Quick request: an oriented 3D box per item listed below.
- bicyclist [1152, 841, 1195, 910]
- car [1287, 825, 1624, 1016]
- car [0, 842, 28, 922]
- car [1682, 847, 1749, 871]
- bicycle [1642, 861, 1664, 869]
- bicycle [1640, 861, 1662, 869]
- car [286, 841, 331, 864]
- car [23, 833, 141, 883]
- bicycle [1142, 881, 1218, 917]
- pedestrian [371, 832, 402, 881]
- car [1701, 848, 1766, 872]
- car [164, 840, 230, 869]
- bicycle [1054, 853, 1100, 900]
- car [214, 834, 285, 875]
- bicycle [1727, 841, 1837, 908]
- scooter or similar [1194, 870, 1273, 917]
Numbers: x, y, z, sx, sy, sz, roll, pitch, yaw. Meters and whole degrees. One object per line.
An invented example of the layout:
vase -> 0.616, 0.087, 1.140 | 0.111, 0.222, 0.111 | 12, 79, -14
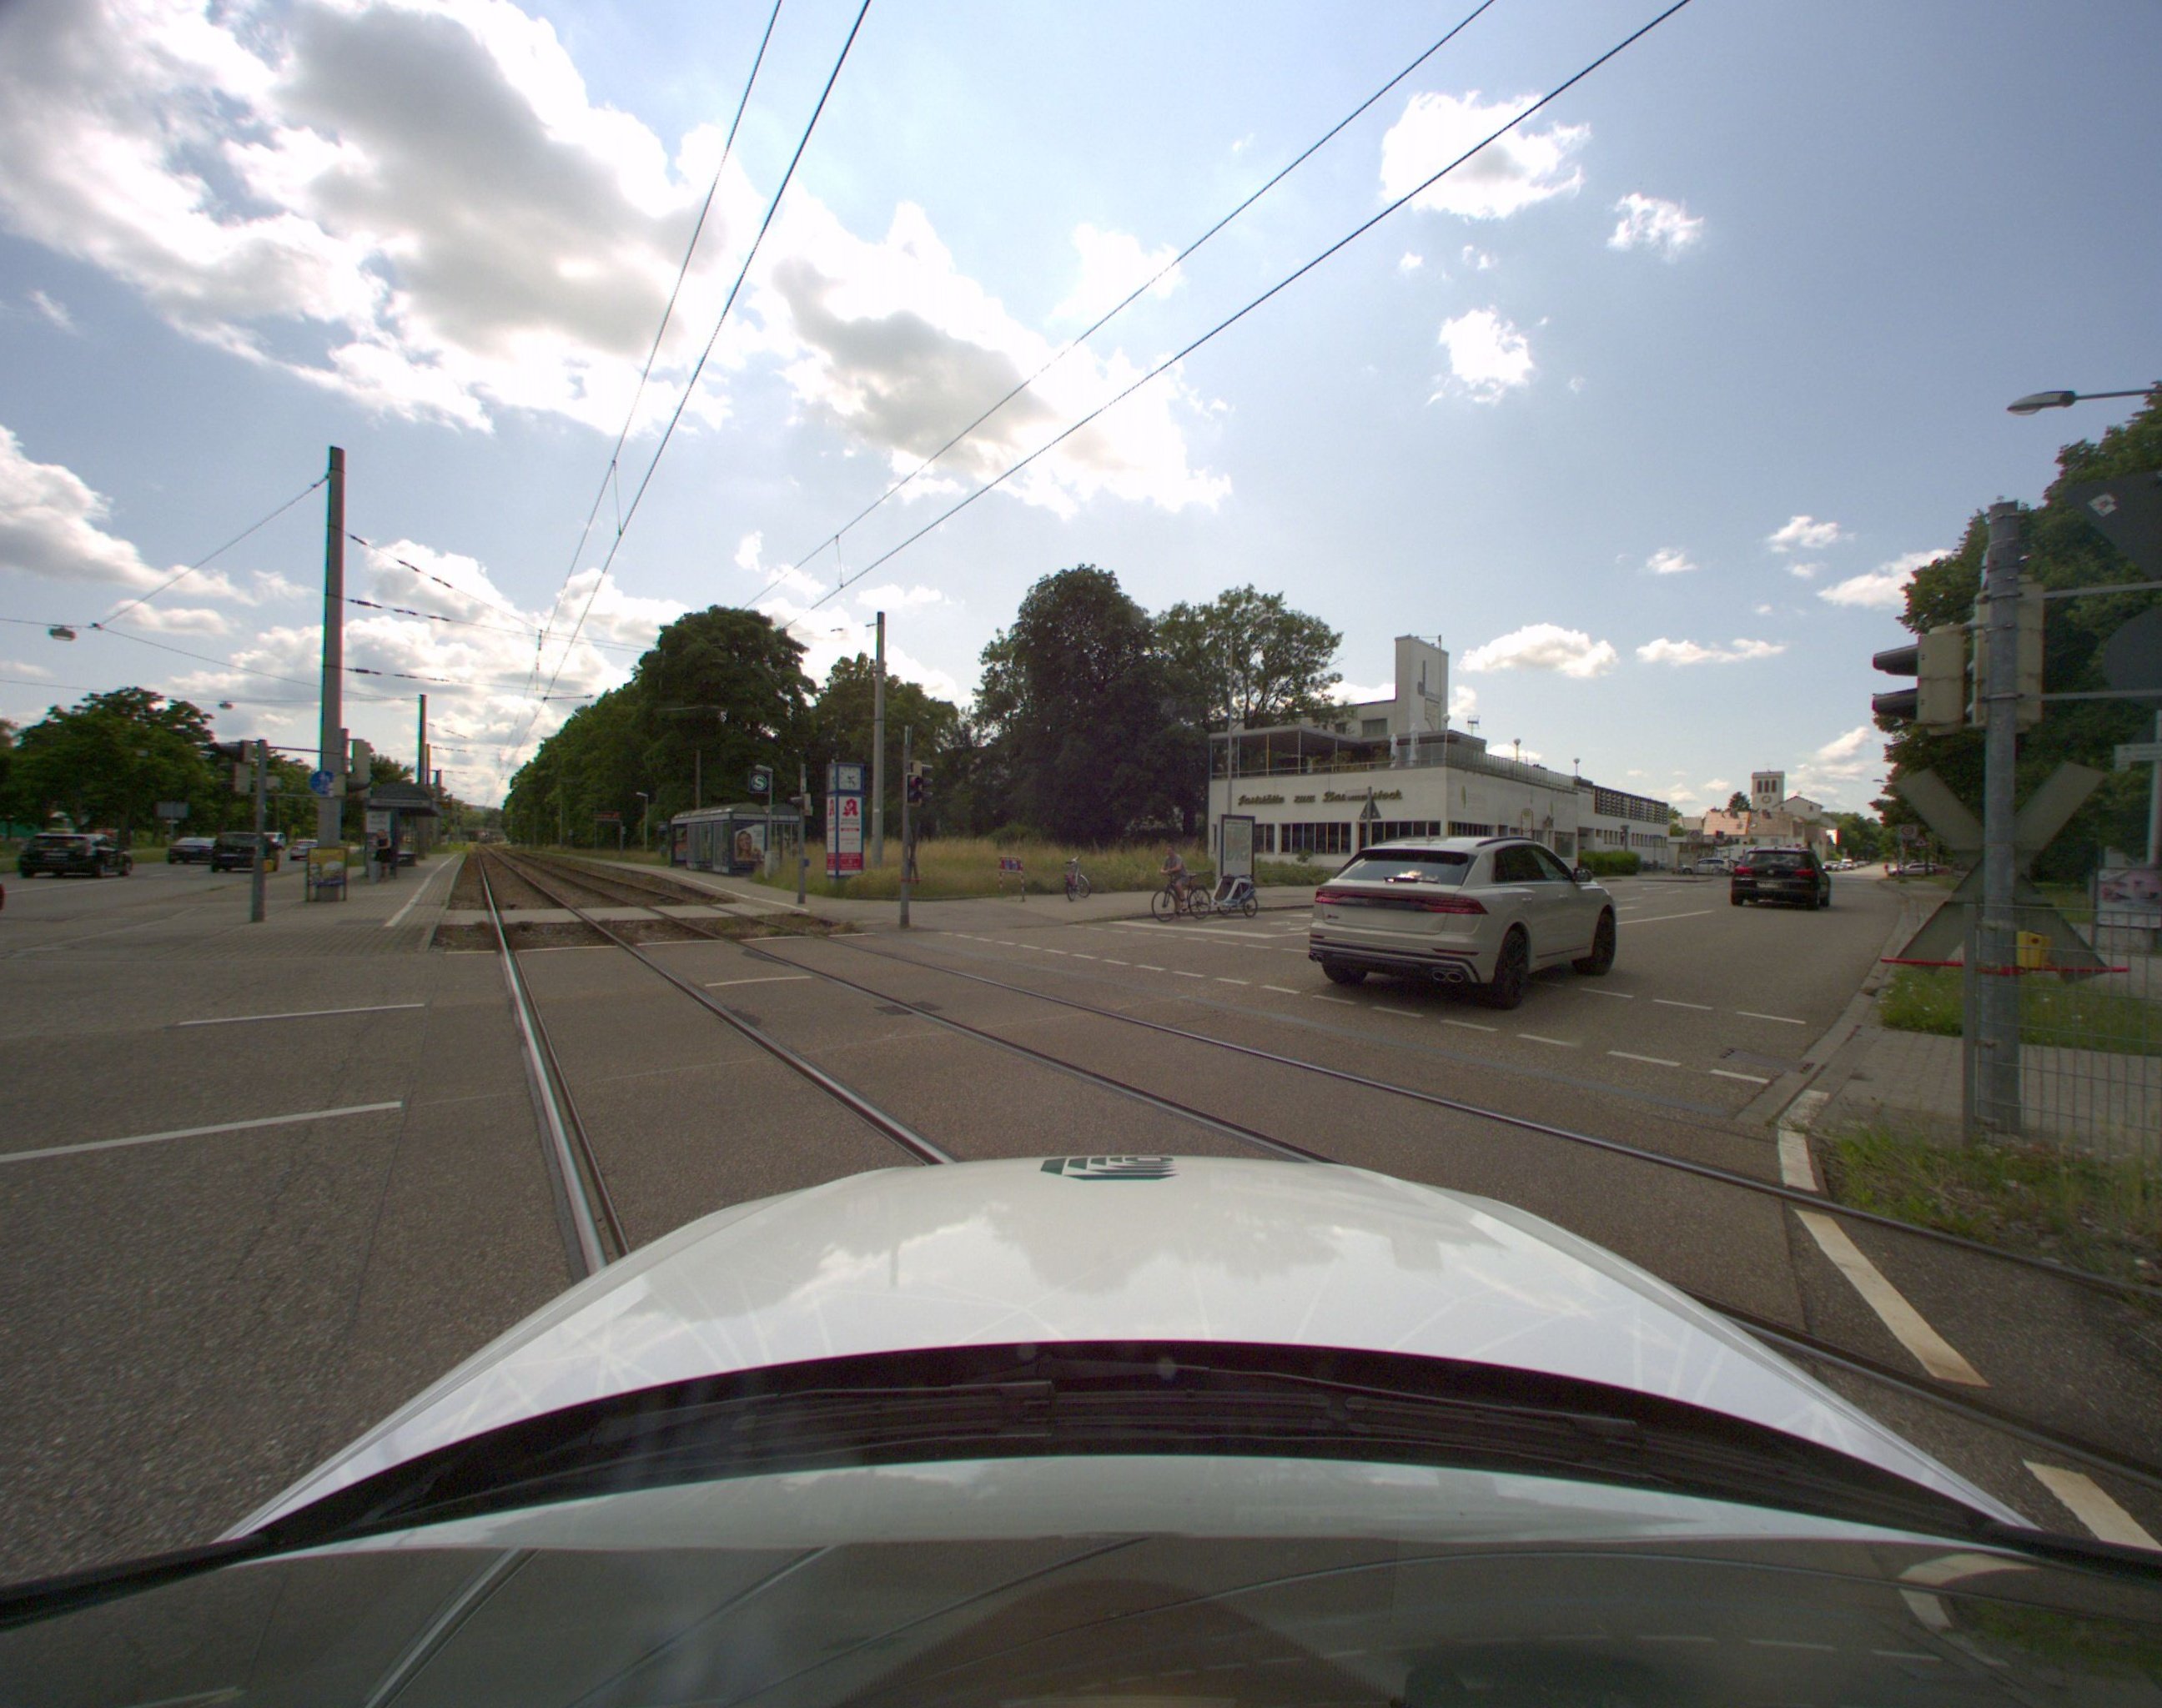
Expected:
bicyclist -> 2.036, 0.461, 17.856 | 0.845, 1.475, 0.450 | 0, 0, -35
car -> 4.539, 0.574, 9.498 | 4.599, 1.684, 1.964 | 0, 1, -43
car -> -20.064, 0.497, 13.660 | 1.768, 1.466, 4.384 | 4, -2, -37
car -> 56.132, 0.432, 72.095 | 4.588, 2.014, 2.012 | 1, -1, 41
bicycle -> 56.577, 1.072, 80.576 | 1.656, 0.757, 0.573 | 2, 1, 20
bicycle -> 56.885, 1.070, 81.292 | 1.656, 0.757, 0.573 | 2, 1, 20
car -> -54.493, -0.121, 57.525 | 1.800, 1.525, 4.253 | 1, 0, -37
car -> -35.661, 0.135, 29.206 | 1.800, 1.668, 4.290 | 2, -1, -39
bicycle -> 2.190, 0.978, 17.970 | 1.734, 0.765, 0.549 | 1, -1, -35
pedestrian -> -21.488, 0.070, 25.193 | 0.709, 1.513, 0.660 | 1, 0, 44
car -> 59.643, 0.535, 74.493 | 4.588, 2.014, 2.012 | 1, -1, 41
car -> -48.761, 0.006, 45.011 | 1.879, 1.504, 3.954 | 2, -1, -39
bicycle -> -0.077, 0.566, 21.574 | 0.693, 1.132, 1.669 | 1, 2, 19
car -> -38.727, 0.022, 38.018 | 1.773, 1.777, 3.864 | 2, -1, -38
bicycle -> 19.579, 0.513, 22.680 | 4.232, 1.675, 1.975 | 0, 1, -45
scooter or similar -> 3.501, 0.880, 18.739 | 1.586, 0.979, 0.952 | 0, 0, -34
